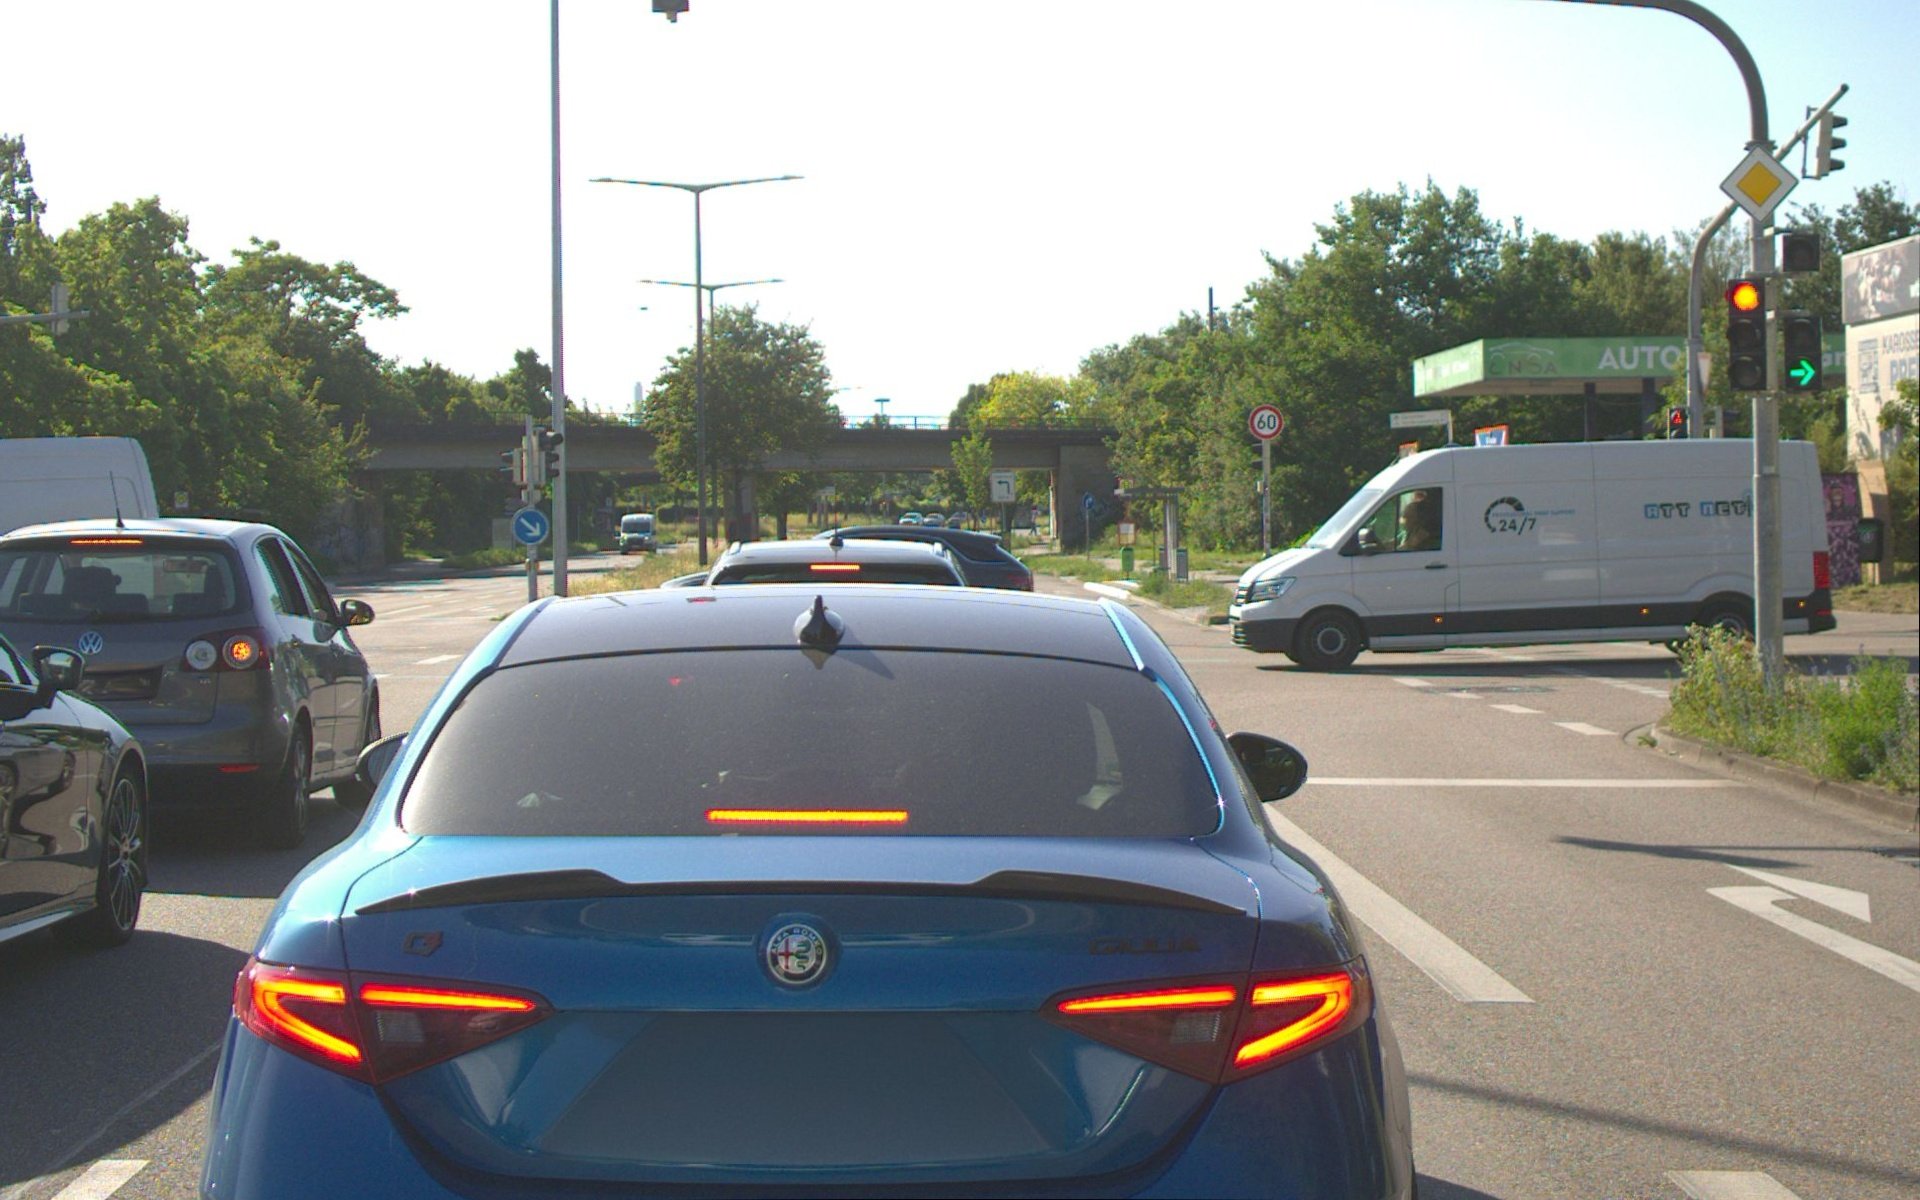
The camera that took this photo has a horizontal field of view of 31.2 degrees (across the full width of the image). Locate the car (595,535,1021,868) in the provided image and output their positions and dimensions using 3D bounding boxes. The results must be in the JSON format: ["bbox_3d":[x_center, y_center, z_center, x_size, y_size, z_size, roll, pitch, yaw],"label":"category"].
[{"bbox_3d":[-0.690,0.410,17.074,1.866,1.445,3.932,0,1,-1],"label":"car"}]

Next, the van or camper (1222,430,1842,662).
[{"bbox_3d":[6.477,-0.627,39.495,6.731,2.563,2.185,0,1,-1],"label":"van or camper"}]

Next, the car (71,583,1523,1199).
[{"bbox_3d":[-0.233,0.695,6.398,1.866,1.380,3.932,0,1,-1],"label":"car"}]

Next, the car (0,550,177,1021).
[{"bbox_3d":[-3.796,0.568,10.635,1.768,1.409,4.461,0,1,-1],"label":"car"}]

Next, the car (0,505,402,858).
[{"bbox_3d":[-3.977,0.329,17.547,1.648,1.593,3.932,0,1,-1],"label":"car"}]

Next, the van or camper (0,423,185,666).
[{"bbox_3d":[-11.697,-0.609,37.689,5.938,2.641,2.000,-1,1,-37],"label":"van or camper"}]

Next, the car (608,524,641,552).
[{"bbox_3d":[-20.588,-3.799,211.102,1.822,1.688,3.837,0,1,-3],"label":"car"}]

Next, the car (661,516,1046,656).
[{"bbox_3d":[-1.289,-0.188,42.043,4.598,1.647,2.000,0,1,-1],"label":"car"}]
